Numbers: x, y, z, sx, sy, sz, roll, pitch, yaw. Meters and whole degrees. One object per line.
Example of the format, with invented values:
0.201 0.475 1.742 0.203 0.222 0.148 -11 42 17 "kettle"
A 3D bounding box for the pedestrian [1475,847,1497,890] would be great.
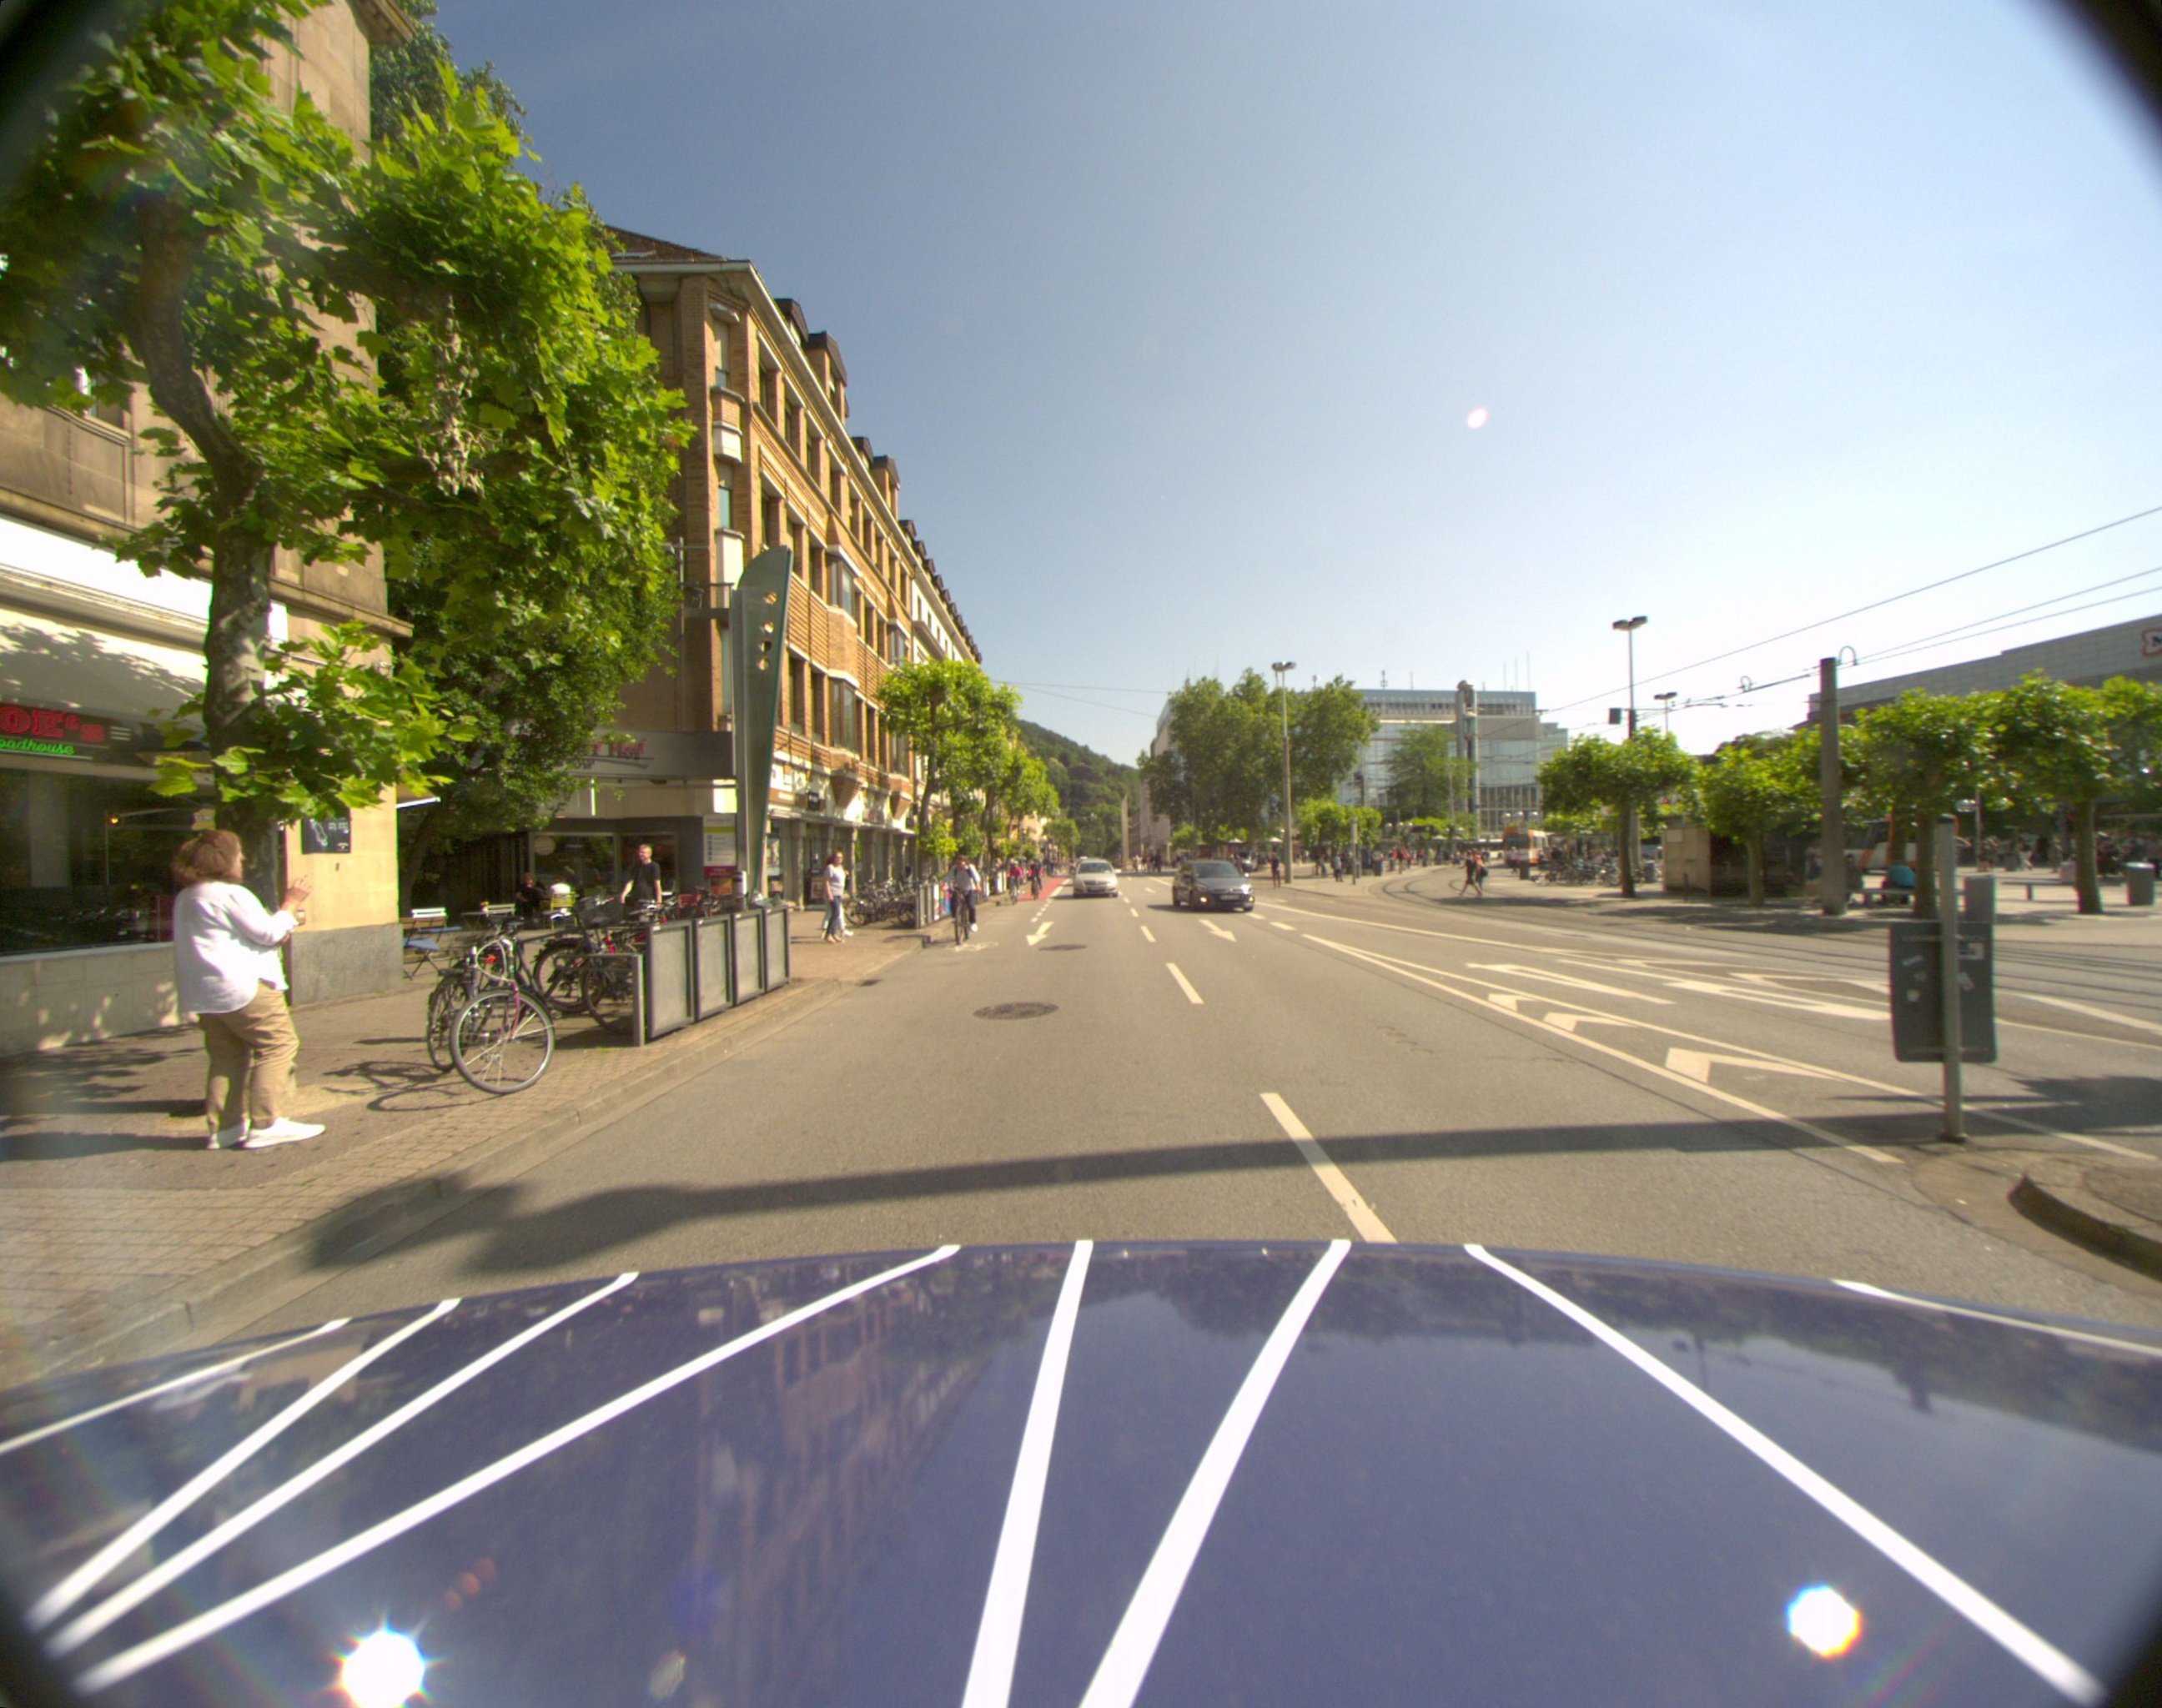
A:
15.295 0.549 28.709 0.525 1.600 0.627 1 0 10 "pedestrian"

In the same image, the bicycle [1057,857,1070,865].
-2.454 0.997 106.225 1.757 1.140 0.592 -2 1 -1 "bicycle"

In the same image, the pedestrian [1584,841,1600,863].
35.392 -0.127 52.650 0.626 1.492 0.679 1 0 -22 "pedestrian"

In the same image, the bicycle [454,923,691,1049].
-4.651 1.196 7.023 1.757 1.012 0.557 -2 1 -1 "bicycle"

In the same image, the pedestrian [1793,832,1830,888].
21.118 0.180 21.958 0.577 1.600 0.602 1 0 -28 "pedestrian"

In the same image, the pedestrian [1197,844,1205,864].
10.777 0.000 68.156 0.516 1.732 0.518 -4 1 -13 "pedestrian"

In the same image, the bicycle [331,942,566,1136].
-4.353 1.172 5.198 1.754 1.012 0.659 -2 1 31 "bicycle"

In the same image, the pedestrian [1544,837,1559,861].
35.576 -0.348 57.437 0.626 1.784 0.679 1 0 -22 "pedestrian"

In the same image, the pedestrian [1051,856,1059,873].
-2.685 1.054 78.308 0.606 1.726 0.647 -2 1 -22 "pedestrian"

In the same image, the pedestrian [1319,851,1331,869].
16.217 0.397 50.535 0.577 1.226 0.555 -1 1 35 "pedestrian"

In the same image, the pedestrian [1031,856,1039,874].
-4.264 1.026 70.748 0.578 1.675 0.775 -3 1 -2 "pedestrian"

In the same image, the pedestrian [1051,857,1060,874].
-2.610 1.121 76.995 0.579 1.675 0.727 -4 1 -20 "pedestrian"

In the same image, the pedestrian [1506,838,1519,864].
27.620 -0.167 48.663 0.473 1.656 0.521 1 0 -22 "pedestrian"

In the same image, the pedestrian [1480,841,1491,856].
42.484 -0.562 79.765 0.757 1.464 0.555 -3 1 0 "pedestrian"

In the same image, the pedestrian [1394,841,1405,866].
23.120 -0.040 55.166 0.577 1.805 0.605 1 0 0 "pedestrian"

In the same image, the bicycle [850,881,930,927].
-4.567 1.199 18.225 1.757 1.012 0.483 -2 1 -1 "bicycle"

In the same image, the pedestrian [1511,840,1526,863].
27.521 -0.156 47.771 0.626 1.457 0.552 1 0 -22 "pedestrian"

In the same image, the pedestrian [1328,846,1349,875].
14.875 0.350 43.875 0.895 1.649 0.680 -1 1 -8 "pedestrian"

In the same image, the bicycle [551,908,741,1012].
-4.736 1.143 8.328 1.757 1.012 0.483 -2 1 -1 "bicycle"

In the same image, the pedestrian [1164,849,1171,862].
11.334 0.139 99.710 0.732 1.660 0.640 -3 1 14 "pedestrian"

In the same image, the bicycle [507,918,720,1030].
-4.704 1.194 7.716 1.757 1.012 0.587 -1 1 -1 "bicycle"

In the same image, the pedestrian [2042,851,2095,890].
25.894 0.425 19.931 0.635 0.995 0.580 1 0 3 "pedestrian"

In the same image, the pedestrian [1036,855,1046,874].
-3.632 0.962 68.997 0.620 1.675 0.579 -3 1 40 "pedestrian"

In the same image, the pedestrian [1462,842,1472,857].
40.207 -0.454 79.146 0.757 1.464 0.555 -3 1 0 "pedestrian"

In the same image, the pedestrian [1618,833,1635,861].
33.608 -0.412 46.807 0.561 1.720 0.588 1 0 -22 "pedestrian"

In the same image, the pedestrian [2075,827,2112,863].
42.332 -0.373 31.780 0.625 1.457 0.680 1 0 -2 "pedestrian"

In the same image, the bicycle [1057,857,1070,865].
-2.415 0.981 105.494 1.757 1.140 0.592 -2 1 -1 "bicycle"

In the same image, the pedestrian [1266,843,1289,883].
9.835 0.436 38.014 0.897 1.996 0.678 0 0 -43 "pedestrian"

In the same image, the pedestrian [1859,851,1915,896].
21.349 0.519 20.140 0.677 1.164 0.752 1 0 -5 "pedestrian"

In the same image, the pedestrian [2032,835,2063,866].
46.345 -0.161 36.431 0.624 1.457 0.681 1 0 3 "pedestrian"

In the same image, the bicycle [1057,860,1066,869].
-2.295 1.230 89.825 0.737 1.086 1.895 0 1 -13 "bicycle"

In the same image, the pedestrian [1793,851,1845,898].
20.292 0.557 20.905 0.677 1.239 0.752 1 0 -5 "pedestrian"

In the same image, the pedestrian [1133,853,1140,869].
6.136 0.721 84.249 0.639 1.737 0.733 -3 1 -1 "pedestrian"

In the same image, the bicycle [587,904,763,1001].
-4.729 1.137 8.909 1.757 1.012 0.483 -2 1 -1 "bicycle"

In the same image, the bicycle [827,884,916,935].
-4.550 1.203 16.564 1.757 1.012 0.483 -2 1 -1 "bicycle"

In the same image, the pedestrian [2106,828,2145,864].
42.175 -0.312 30.692 0.625 1.457 0.680 1 0 -4 "pedestrian"

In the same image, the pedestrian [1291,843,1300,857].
26.599 -0.463 94.237 0.752 1.737 0.782 -3 1 -9 "pedestrian"

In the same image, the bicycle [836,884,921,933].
-4.542 1.216 17.096 1.757 1.012 0.483 -2 1 -1 "bicycle"

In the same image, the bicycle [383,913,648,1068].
-4.661 1.110 6.335 1.757 1.174 0.579 1 1 -1 "bicycle"

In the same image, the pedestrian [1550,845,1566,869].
28.926 0.179 46.055 0.682 1.410 0.623 -2 1 -37 "pedestrian"

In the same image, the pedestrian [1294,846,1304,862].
24.169 -0.009 84.136 0.752 1.737 0.782 -3 1 -9 "pedestrian"

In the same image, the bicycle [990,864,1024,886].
-4.049 1.132 41.472 1.757 1.140 0.483 -2 1 -1 "bicycle"

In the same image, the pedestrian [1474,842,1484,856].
41.092 -0.499 78.463 0.757 1.464 0.555 -3 1 0 "pedestrian"

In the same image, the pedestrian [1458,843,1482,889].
14.603 0.453 28.525 0.527 1.723 0.586 1 0 -29 "pedestrian"

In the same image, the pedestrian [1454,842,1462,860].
32.607 -0.229 65.694 0.477 1.540 0.451 1 0 -26 "pedestrian"

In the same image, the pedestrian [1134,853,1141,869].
6.041 0.739 81.403 0.575 1.704 0.652 -3 1 -1 "pedestrian"

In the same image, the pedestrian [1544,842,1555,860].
41.794 -0.252 67.773 0.681 1.540 0.577 1 0 -26 "pedestrian"

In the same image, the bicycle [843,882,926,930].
-4.536 1.202 17.607 1.757 1.012 0.483 -2 1 -1 "bicycle"
